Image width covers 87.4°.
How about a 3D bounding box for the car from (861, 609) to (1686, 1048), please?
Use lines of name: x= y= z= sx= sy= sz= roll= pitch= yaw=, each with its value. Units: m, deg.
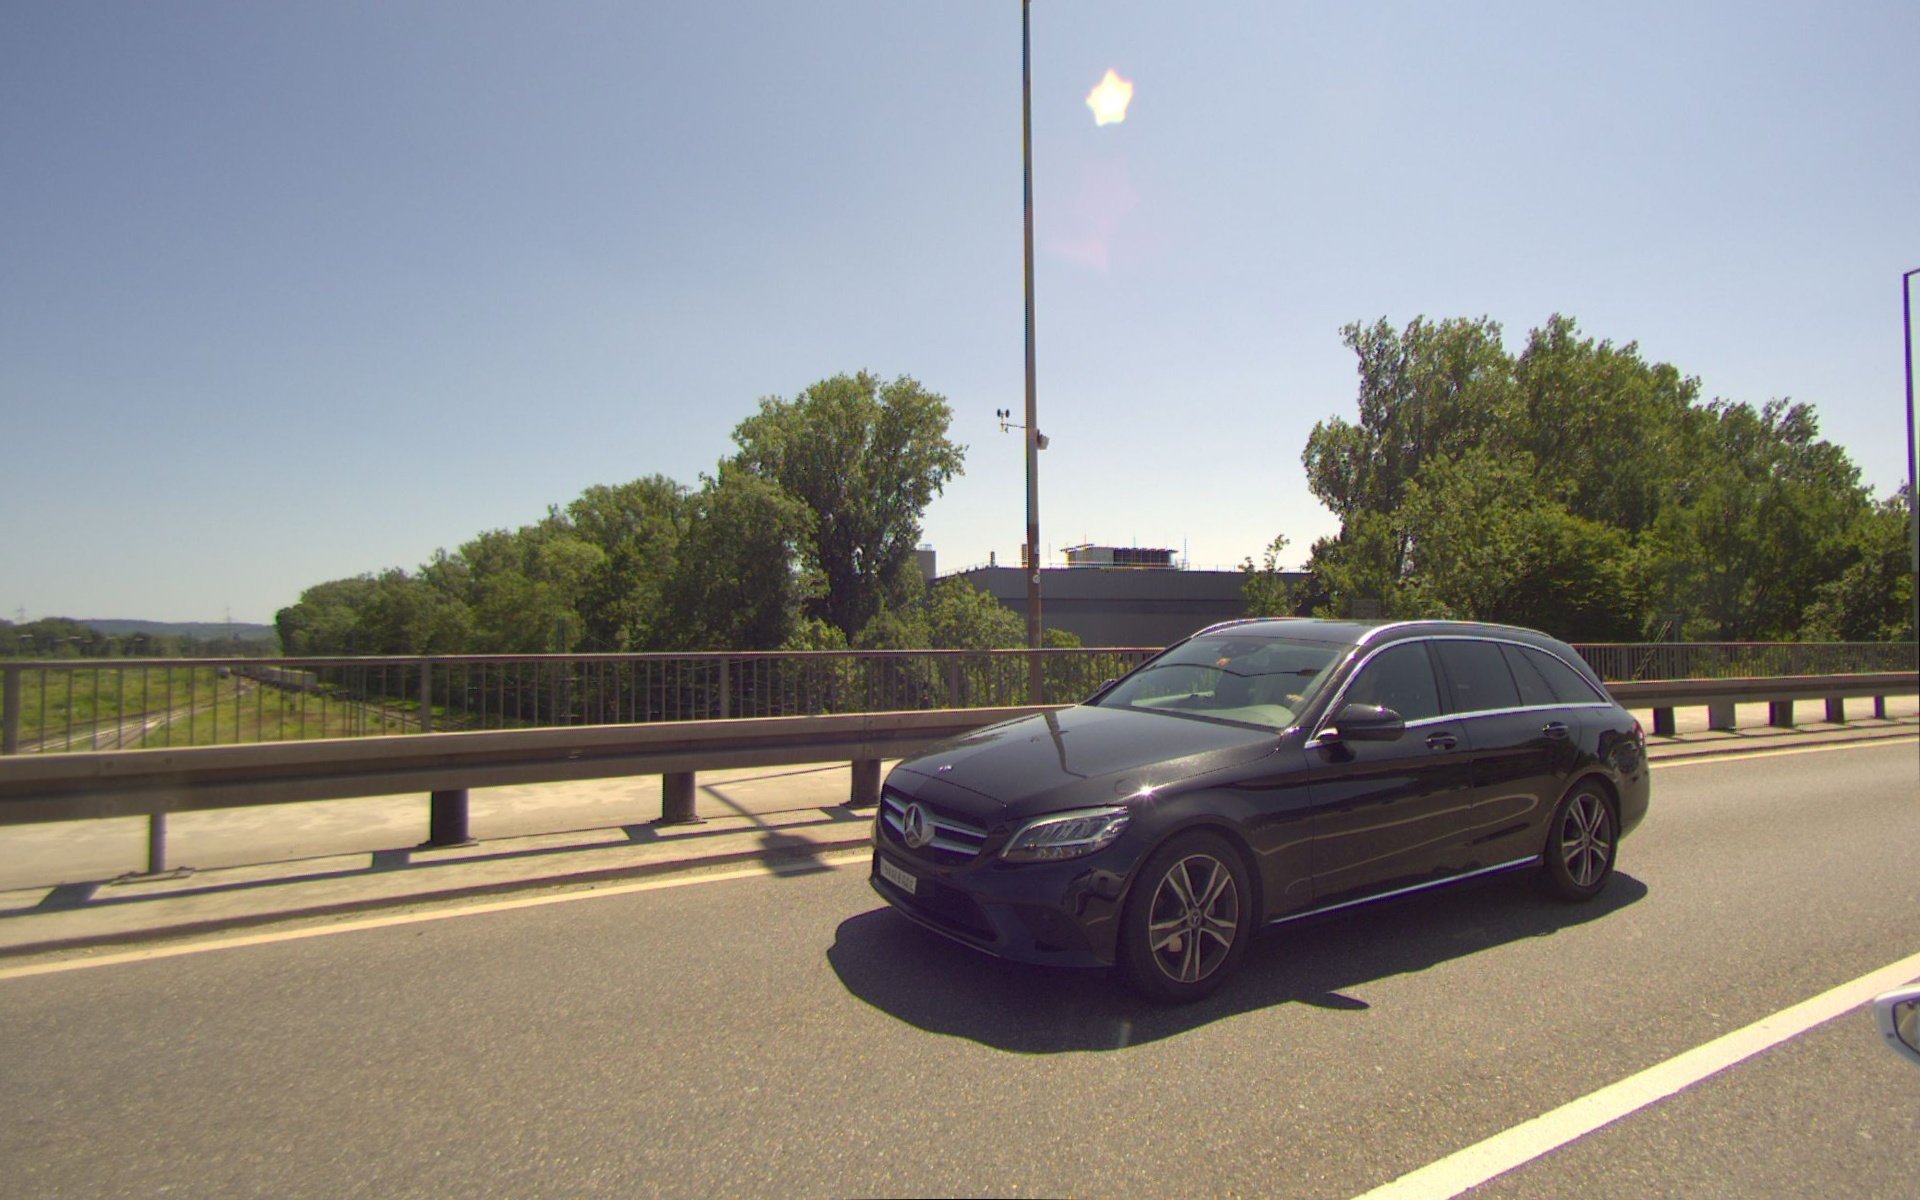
car: x=1.818 y=0.805 z=5.261 sx=4.344 sy=1.458 sz=1.762 roll=1 pitch=-1 yaw=-32
